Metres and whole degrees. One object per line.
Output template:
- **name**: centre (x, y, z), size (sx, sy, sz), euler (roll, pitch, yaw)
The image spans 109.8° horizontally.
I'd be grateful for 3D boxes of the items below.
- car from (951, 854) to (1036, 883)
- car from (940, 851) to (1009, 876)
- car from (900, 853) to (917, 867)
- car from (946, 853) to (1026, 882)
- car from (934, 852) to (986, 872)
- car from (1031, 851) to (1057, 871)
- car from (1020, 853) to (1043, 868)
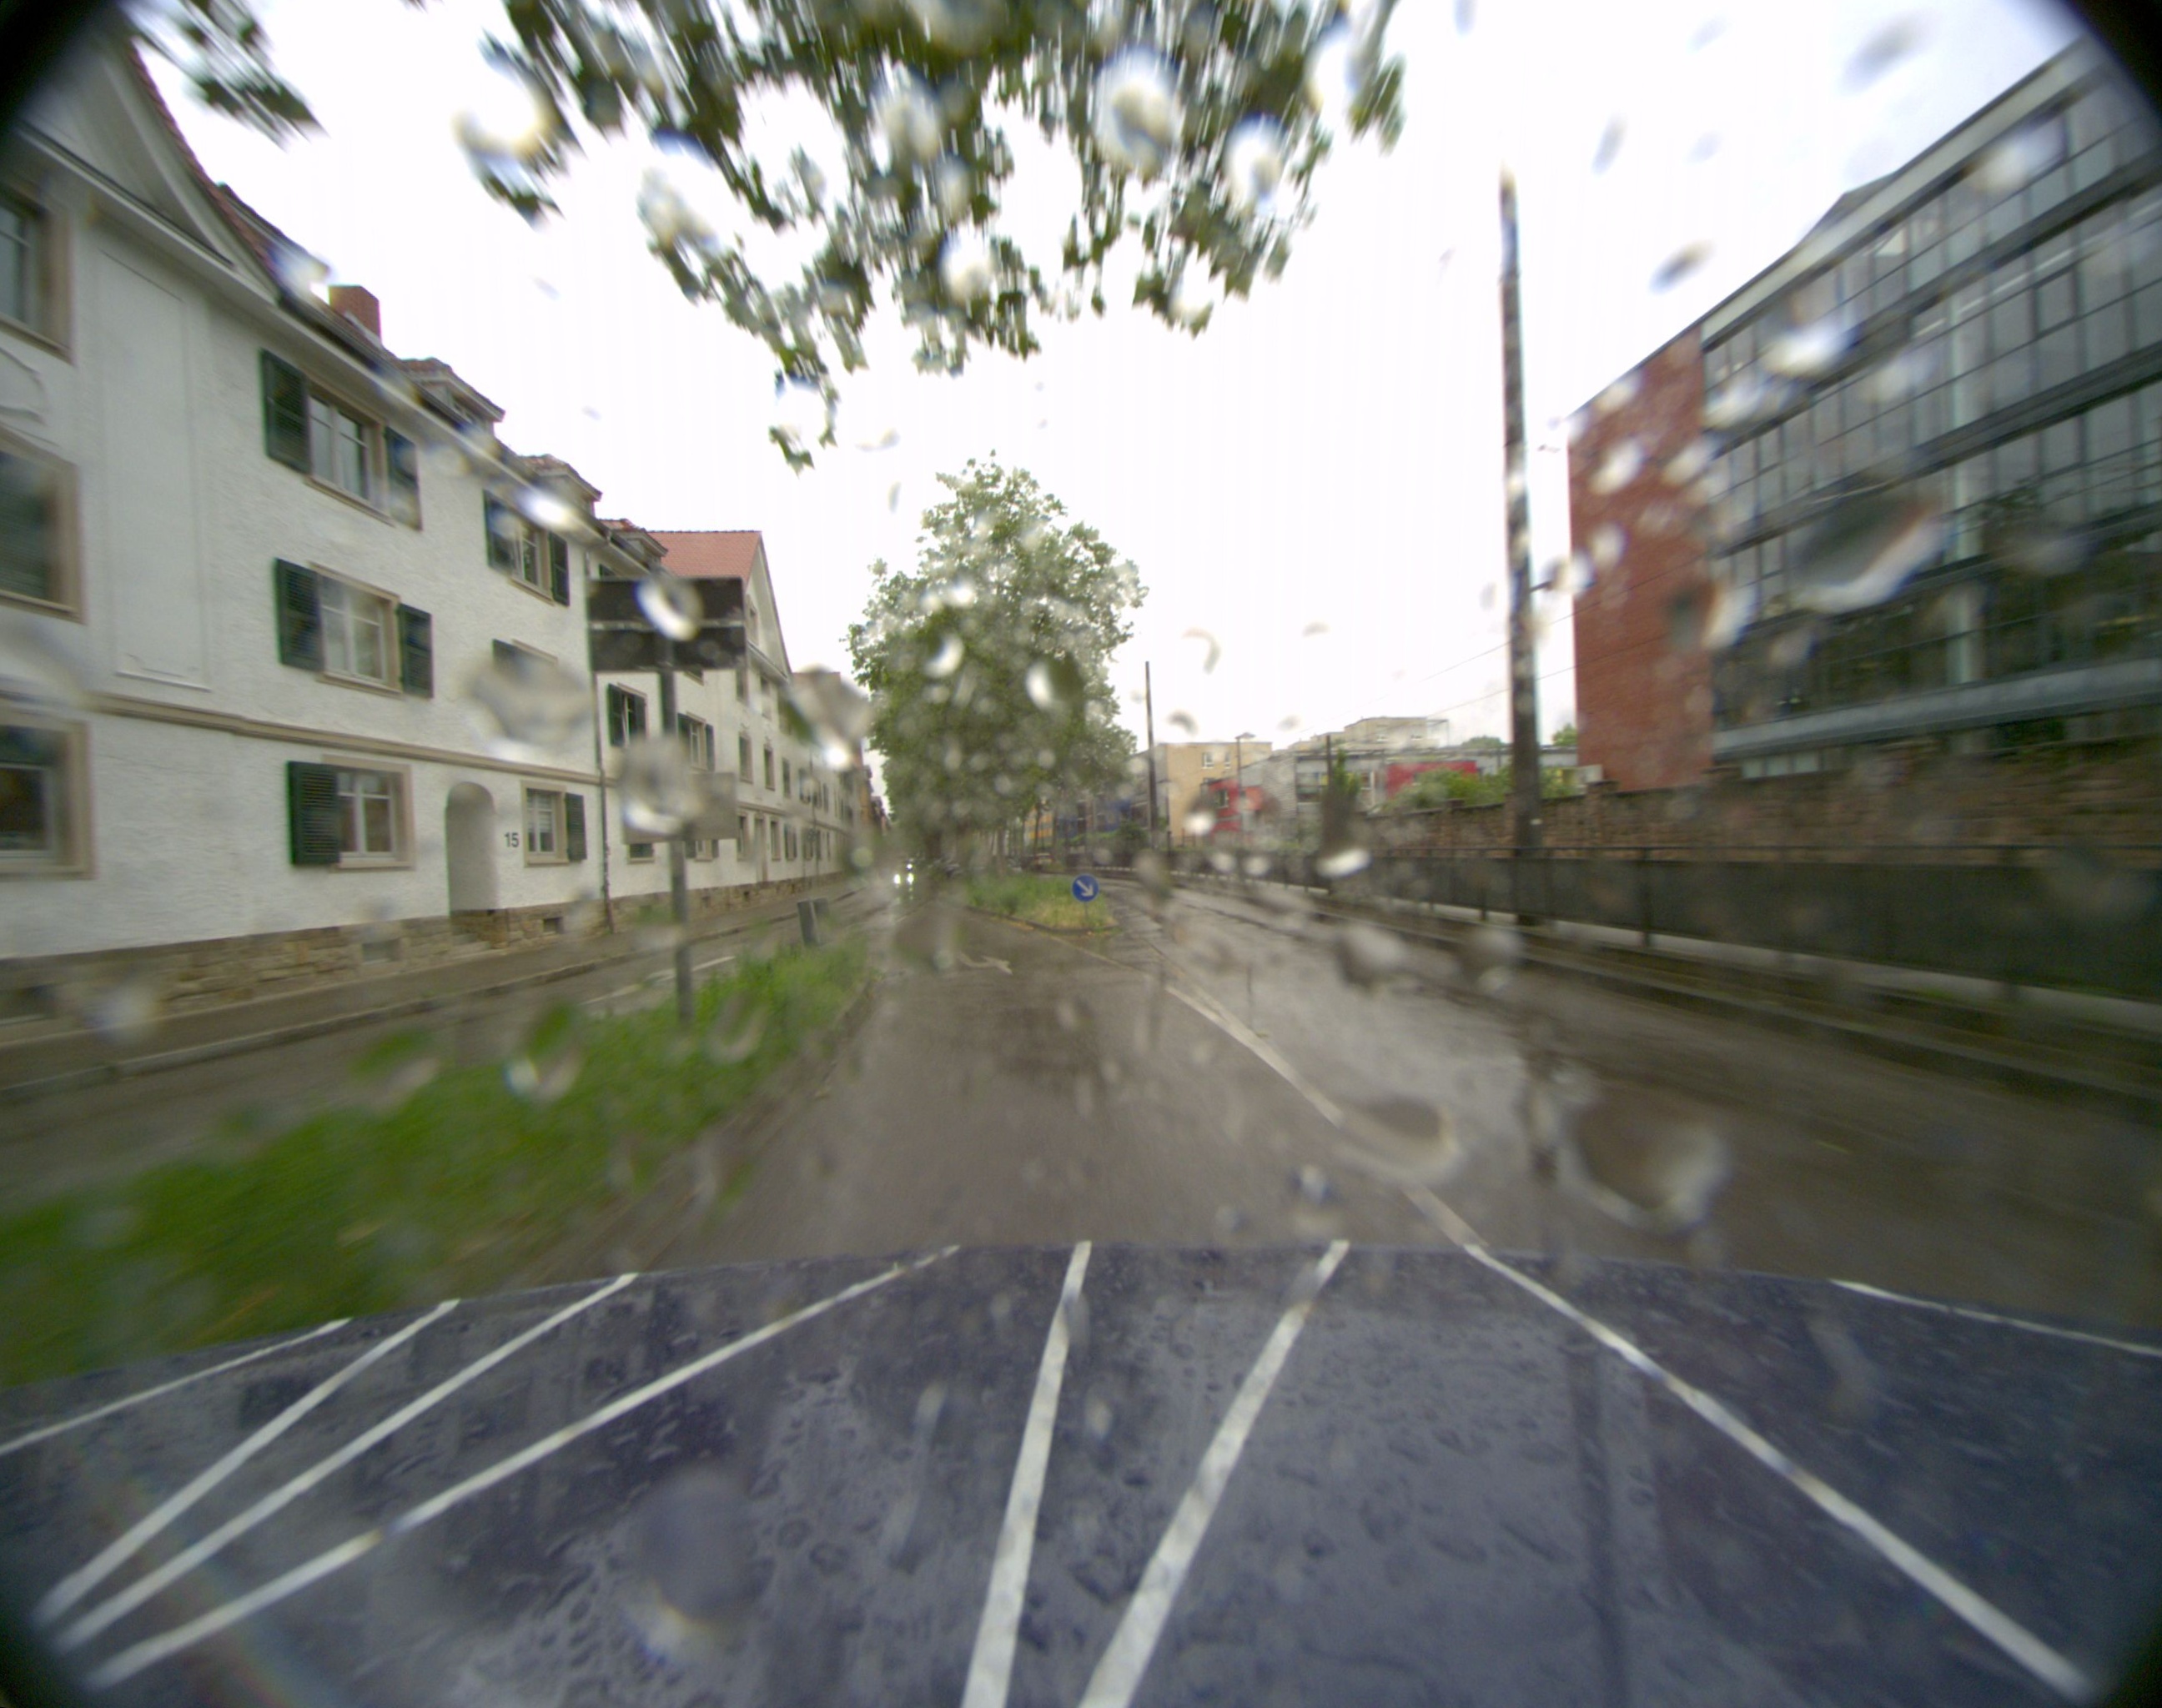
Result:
- **car**: centre (-4.829, 0.784, 42.162), size (4.222, 1.532, 1.933), euler (-1, 1, 18)
- **car**: centre (-7.370, 0.655, 52.707), size (4.326, 1.603, 1.750), euler (-1, 1, 13)
- **car**: centre (-21.240, 0.763, 93.523), size (1.852, 1.587, 4.212), euler (-2, 1, -11)
- **car**: centre (-5.511, 0.801, 44.144), size (4.222, 1.601, 1.750), euler (-1, 1, 18)
- **car**: centre (-12.394, 0.786, 78.001), size (4.882, 2.002, 2.002), euler (-1, 1, 18)
- **car**: centre (-3.412, 0.611, 68.965), size (1.693, 1.714, 3.687), euler (-1, 1, -13)
- **car**: centre (-5.010, 0.662, 76.498), size (1.693, 1.439, 3.995), euler (-1, 1, -13)
